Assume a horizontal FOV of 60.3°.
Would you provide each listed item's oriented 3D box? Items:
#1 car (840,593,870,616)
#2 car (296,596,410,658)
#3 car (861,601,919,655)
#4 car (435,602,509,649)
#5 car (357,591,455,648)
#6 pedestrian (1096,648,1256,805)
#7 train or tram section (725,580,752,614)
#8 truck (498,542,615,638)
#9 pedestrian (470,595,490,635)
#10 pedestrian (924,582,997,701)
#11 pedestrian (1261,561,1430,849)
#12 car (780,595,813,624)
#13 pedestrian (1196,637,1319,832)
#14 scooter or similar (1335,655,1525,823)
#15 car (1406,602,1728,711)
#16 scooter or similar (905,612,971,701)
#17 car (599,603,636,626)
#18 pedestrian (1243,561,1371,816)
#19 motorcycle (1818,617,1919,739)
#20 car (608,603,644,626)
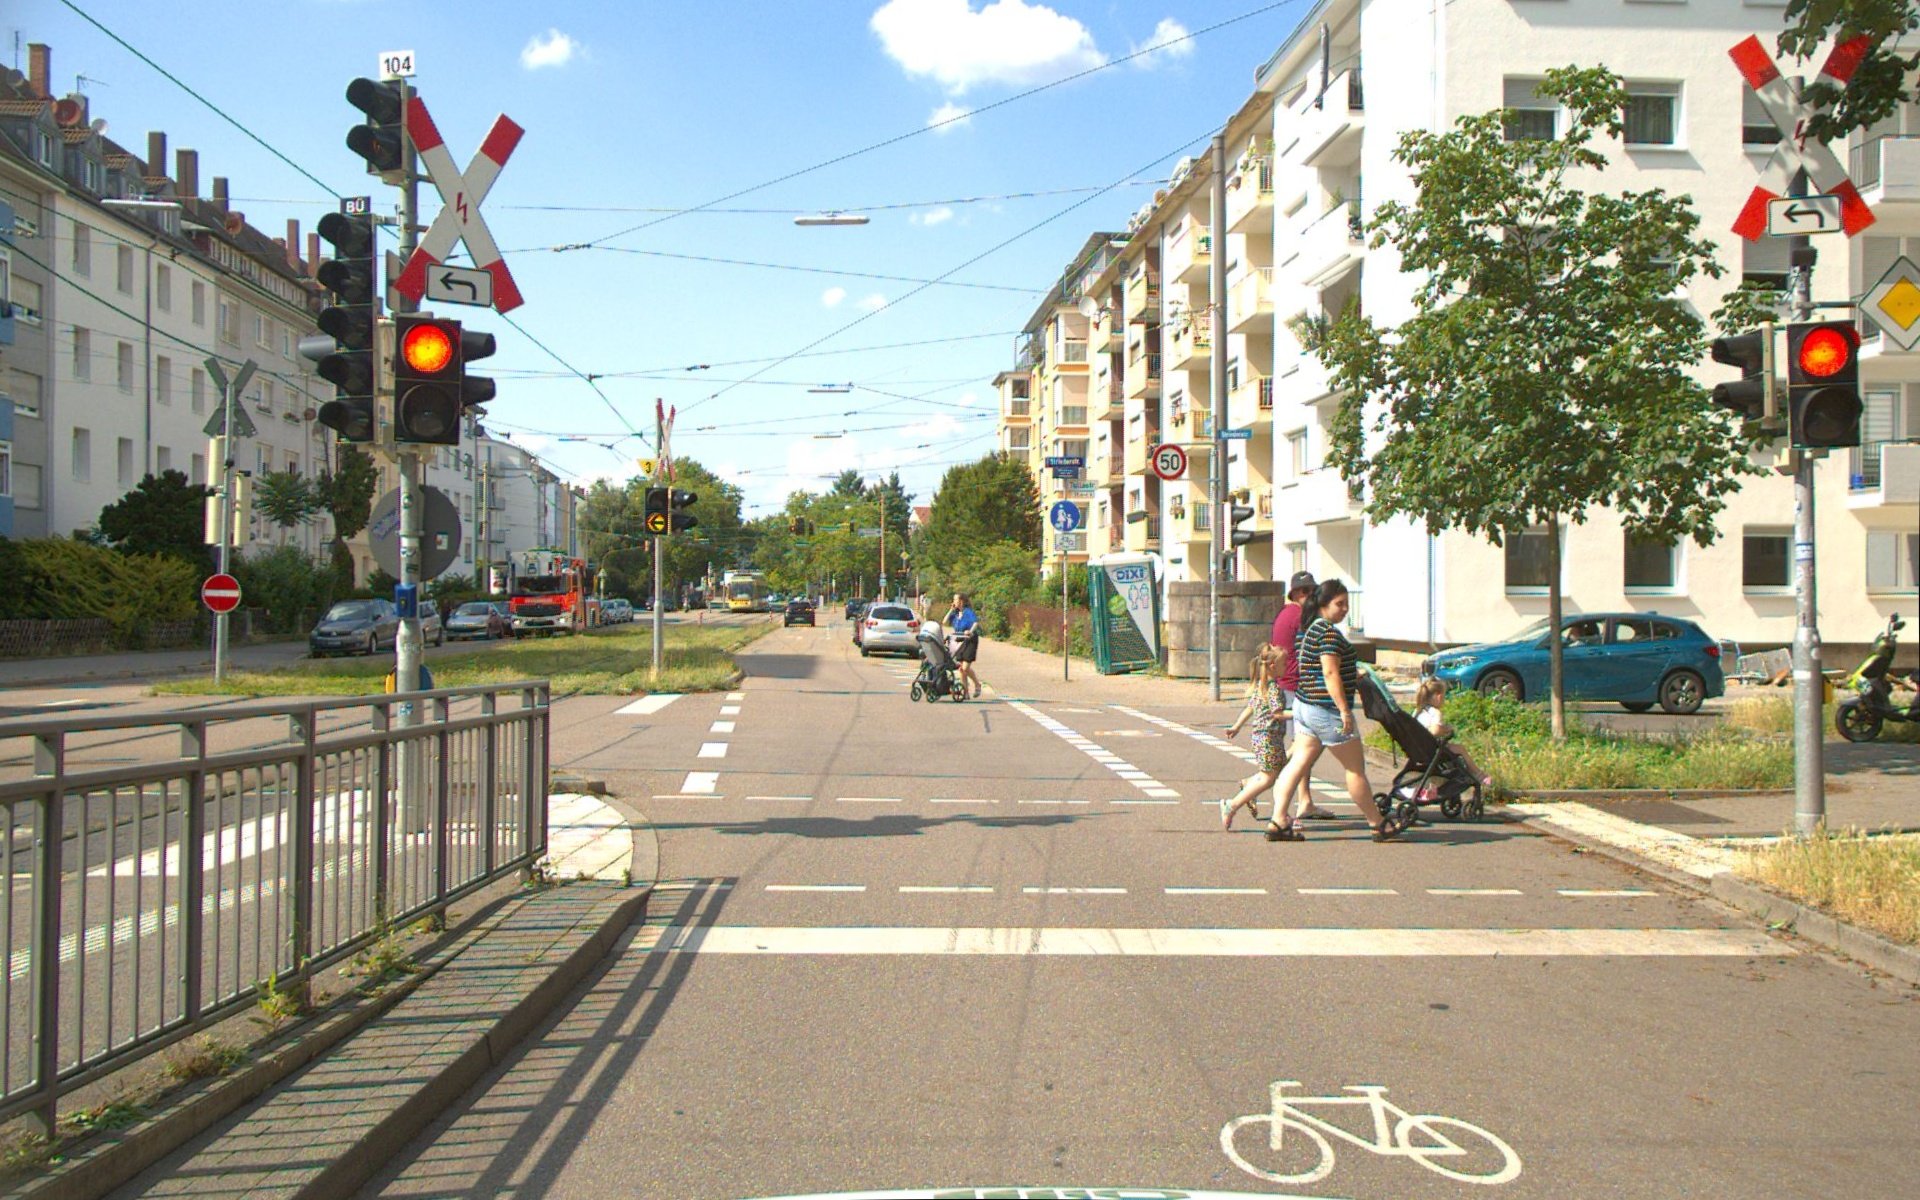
[{"bbox_3d":[-7.342,0.313,115.923,1.707,1.533,4.001,1,0,2],"label":"car"},{"bbox_3d":[-17.607,0.773,48.173,1.954,1.674,3.998,2,0,-3],"label":"car"},{"bbox_3d":[-2.057,0.796,48.220,1.590,1.490,3.508,2,0,-3],"label":"car"},{"bbox_3d":[-18.897,0.968,64.162,1.955,1.741,3.995,2,0,-5],"label":"car"},{"bbox_3d":[-18.108,0.624,54.263,1.954,1.741,3.998,2,0,-3],"label":"car"},{"bbox_3d":[3.167,1.817,25.020,1.952,2.049,4.001,1,-1,1],"label":"pedestrian"},{"bbox_3d":[-20.500,-0.273,153.537,2.215,3.122,8.122,0,0,-6],"label":"train or tram section"},{"bbox_3d":[-16.260,-0.351,67.362,2.613,3.531,10.162,1,0,-3],"label":"truck"},{"bbox_3d":[-22.309,0.701,76.879,0.691,1.825,0.864,0,0,-3],"label":"pedestrian"},{"bbox_3d":[0.018,0.673,26.320,0.687,1.821,1.029,3,-2,25],"label":"pedestrian"},{"bbox_3d":[2.353,0.622,10.181,0.828,1.697,0.798,0,-1,-2],"label":"pedestrian"},{"bbox_3d":[-9.159,0.545,92.967,1.709,1.533,3.997,2,0,-4],"label":"car"},{"bbox_3d":[1.915,0.847,10.723,0.624,1.201,0.798,0,-1,-2],"label":"pedestrian"},{"bbox_3d":[3.189,0.934,11.284,1.078,1.074,0.650,1,-1,-4],"label":"scooter or similar"},{"bbox_3d":[8.854,0.812,24.341,4.081,1.438,1.780,2,-1,-1],"label":"car"},{"bbox_3d":[-0.336,0.871,25.572,0.649,1.326,0.868,2,-1,25],"label":"scooter or similar"},{"bbox_3d":[-21.412,0.908,103.495,1.810,1.391,3.996,2,0,-5],"label":"car"},{"bbox_3d":[2.360,0.591,11.311,0.691,1.677,0.636,1,-1,-2],"label":"pedestrian"},{"bbox_3d":[10.217,0.824,17.609,0.565,1.236,1.826,-5,1,-32],"label":"motorcycle"},{"bbox_3d":[-21.874,0.934,108.461,1.810,1.391,3.996,2,0,-5],"label":"car"}]
